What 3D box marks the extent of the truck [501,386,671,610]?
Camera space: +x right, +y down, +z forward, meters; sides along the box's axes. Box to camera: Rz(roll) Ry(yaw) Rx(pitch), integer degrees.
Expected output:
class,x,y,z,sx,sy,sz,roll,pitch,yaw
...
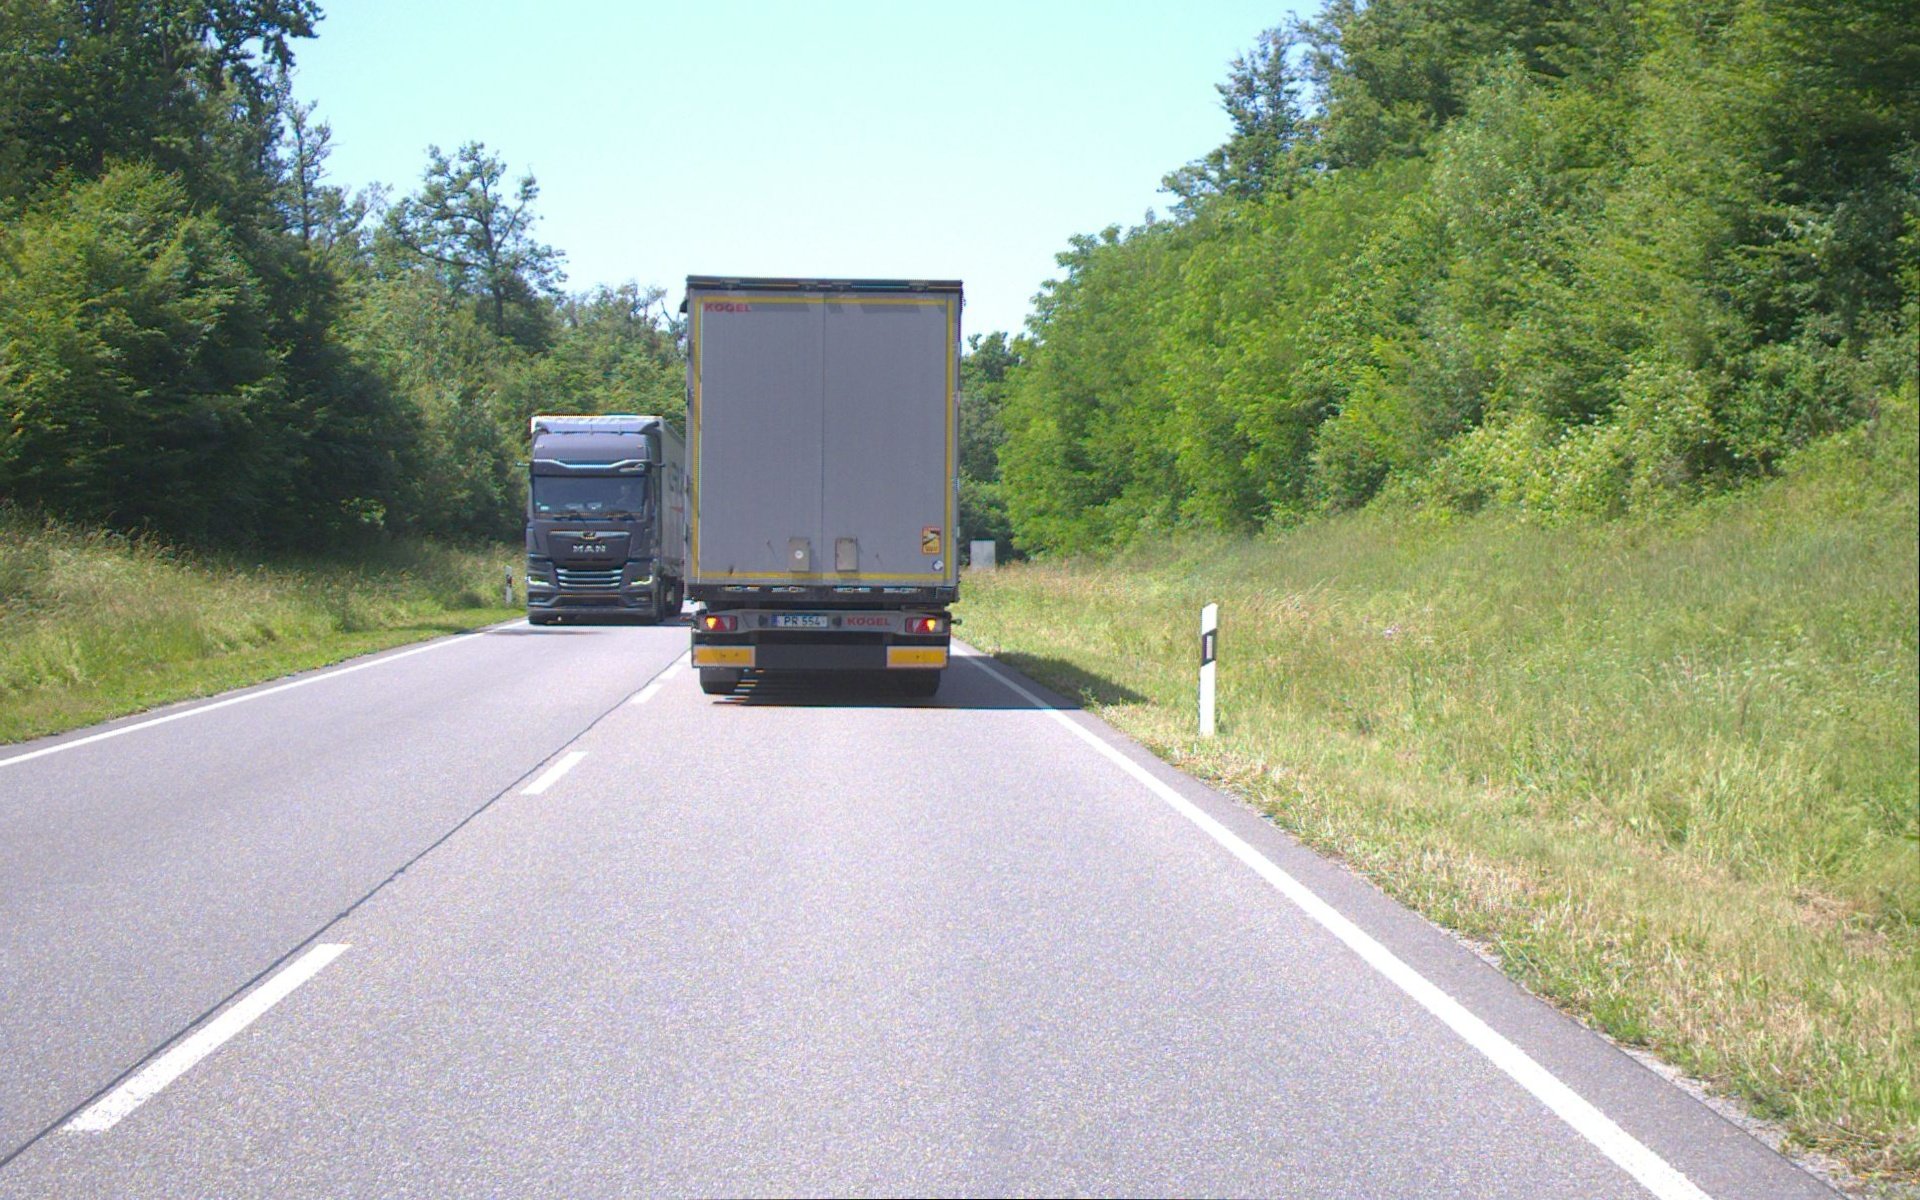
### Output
class,x,y,z,sx,sy,sz,roll,pitch,yaw
truck,-7.262,-1.975,67.387,2.922,4.201,5.344,-1,1,-2

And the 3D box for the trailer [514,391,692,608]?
class,x,y,z,sx,sy,sz,roll,pitch,yaw
trailer,-7.552,-2.124,74.488,2.941,4.238,13.621,-1,1,-2

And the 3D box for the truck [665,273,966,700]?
class,x,y,z,sx,sy,sz,roll,pitch,yaw
truck,-1.541,-1.186,37.805,2.761,3.933,12.199,0,1,-2
